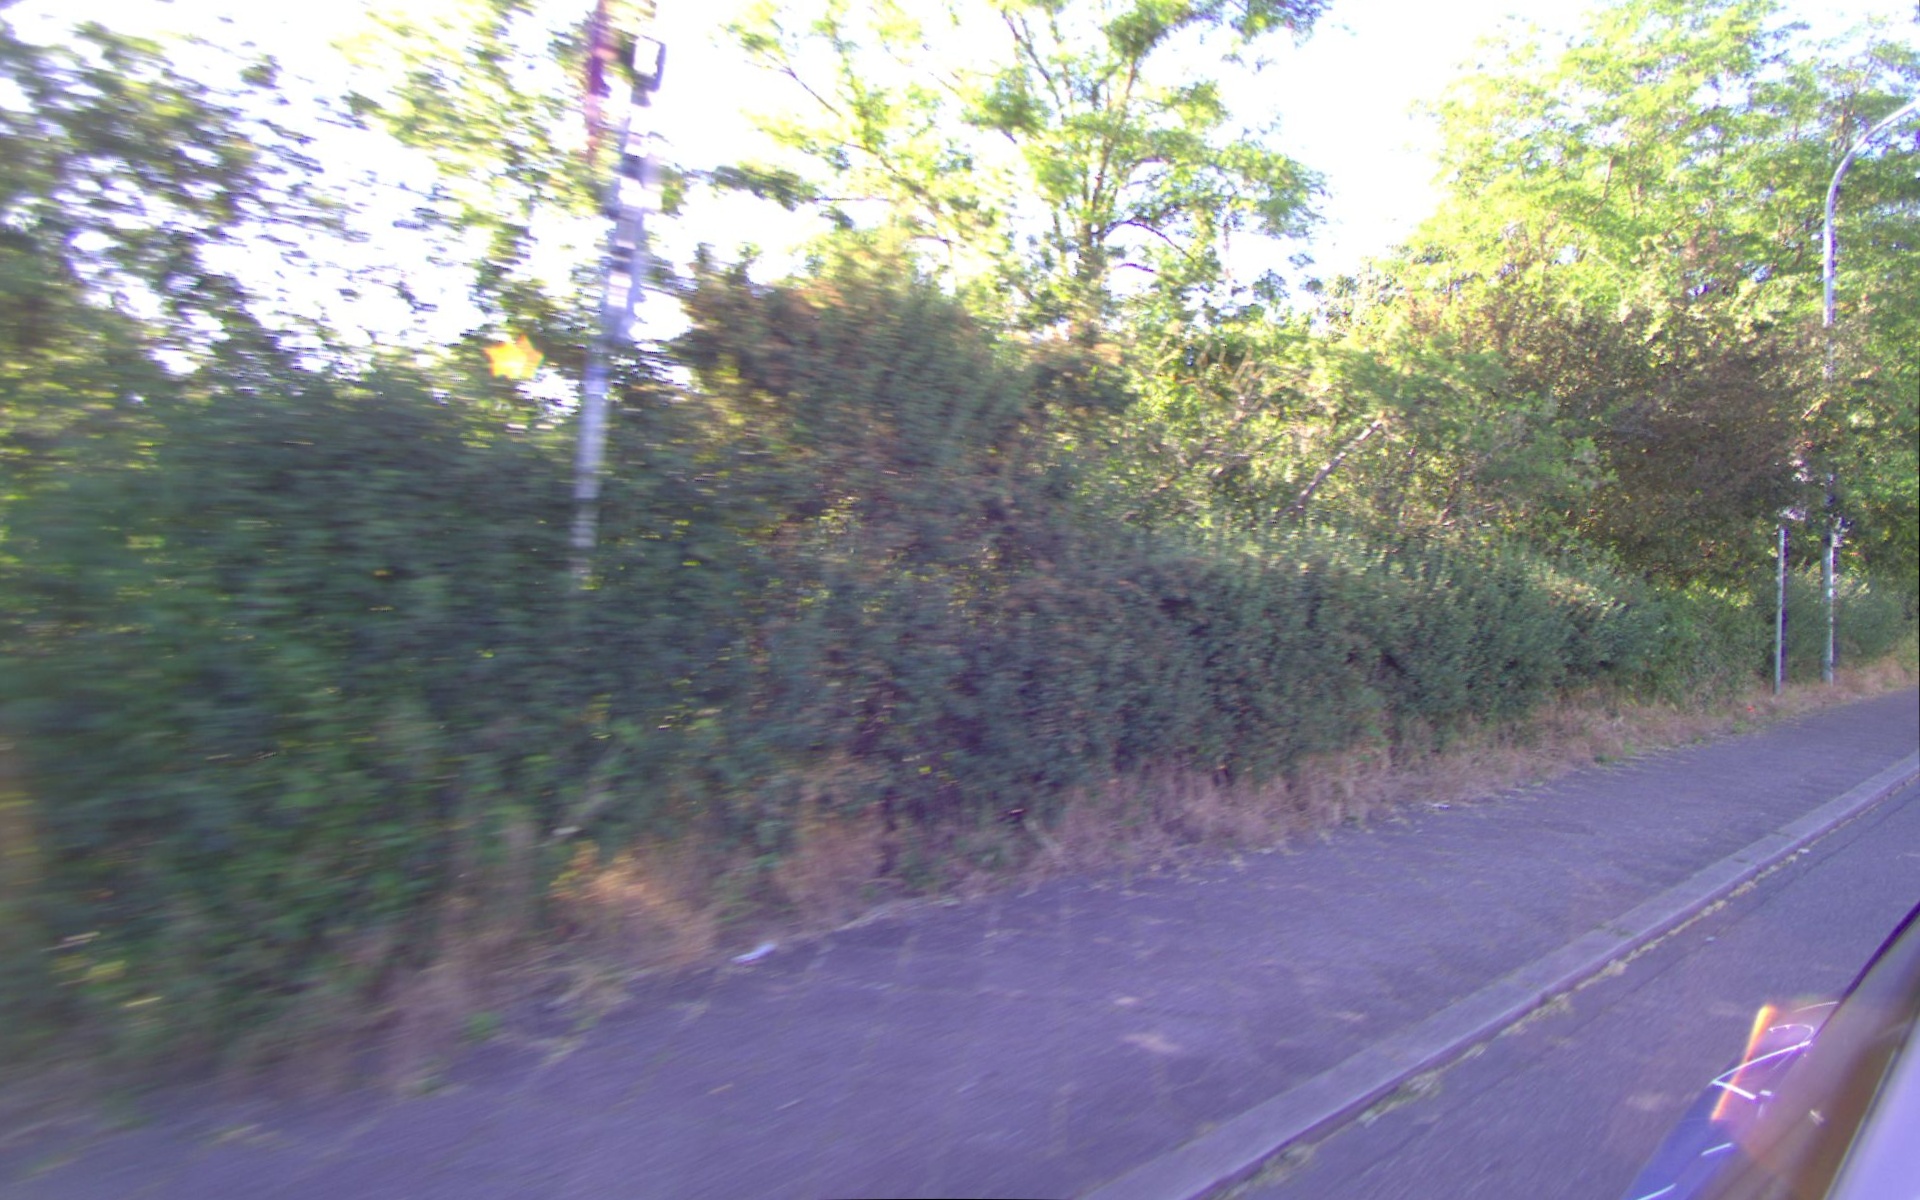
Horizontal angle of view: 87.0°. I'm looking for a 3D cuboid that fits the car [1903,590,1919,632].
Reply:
[{"bbox_3d":[40.928,0.506,40.741,1.743,1.716,4.157,0,1,-40],"label":"car"}]
